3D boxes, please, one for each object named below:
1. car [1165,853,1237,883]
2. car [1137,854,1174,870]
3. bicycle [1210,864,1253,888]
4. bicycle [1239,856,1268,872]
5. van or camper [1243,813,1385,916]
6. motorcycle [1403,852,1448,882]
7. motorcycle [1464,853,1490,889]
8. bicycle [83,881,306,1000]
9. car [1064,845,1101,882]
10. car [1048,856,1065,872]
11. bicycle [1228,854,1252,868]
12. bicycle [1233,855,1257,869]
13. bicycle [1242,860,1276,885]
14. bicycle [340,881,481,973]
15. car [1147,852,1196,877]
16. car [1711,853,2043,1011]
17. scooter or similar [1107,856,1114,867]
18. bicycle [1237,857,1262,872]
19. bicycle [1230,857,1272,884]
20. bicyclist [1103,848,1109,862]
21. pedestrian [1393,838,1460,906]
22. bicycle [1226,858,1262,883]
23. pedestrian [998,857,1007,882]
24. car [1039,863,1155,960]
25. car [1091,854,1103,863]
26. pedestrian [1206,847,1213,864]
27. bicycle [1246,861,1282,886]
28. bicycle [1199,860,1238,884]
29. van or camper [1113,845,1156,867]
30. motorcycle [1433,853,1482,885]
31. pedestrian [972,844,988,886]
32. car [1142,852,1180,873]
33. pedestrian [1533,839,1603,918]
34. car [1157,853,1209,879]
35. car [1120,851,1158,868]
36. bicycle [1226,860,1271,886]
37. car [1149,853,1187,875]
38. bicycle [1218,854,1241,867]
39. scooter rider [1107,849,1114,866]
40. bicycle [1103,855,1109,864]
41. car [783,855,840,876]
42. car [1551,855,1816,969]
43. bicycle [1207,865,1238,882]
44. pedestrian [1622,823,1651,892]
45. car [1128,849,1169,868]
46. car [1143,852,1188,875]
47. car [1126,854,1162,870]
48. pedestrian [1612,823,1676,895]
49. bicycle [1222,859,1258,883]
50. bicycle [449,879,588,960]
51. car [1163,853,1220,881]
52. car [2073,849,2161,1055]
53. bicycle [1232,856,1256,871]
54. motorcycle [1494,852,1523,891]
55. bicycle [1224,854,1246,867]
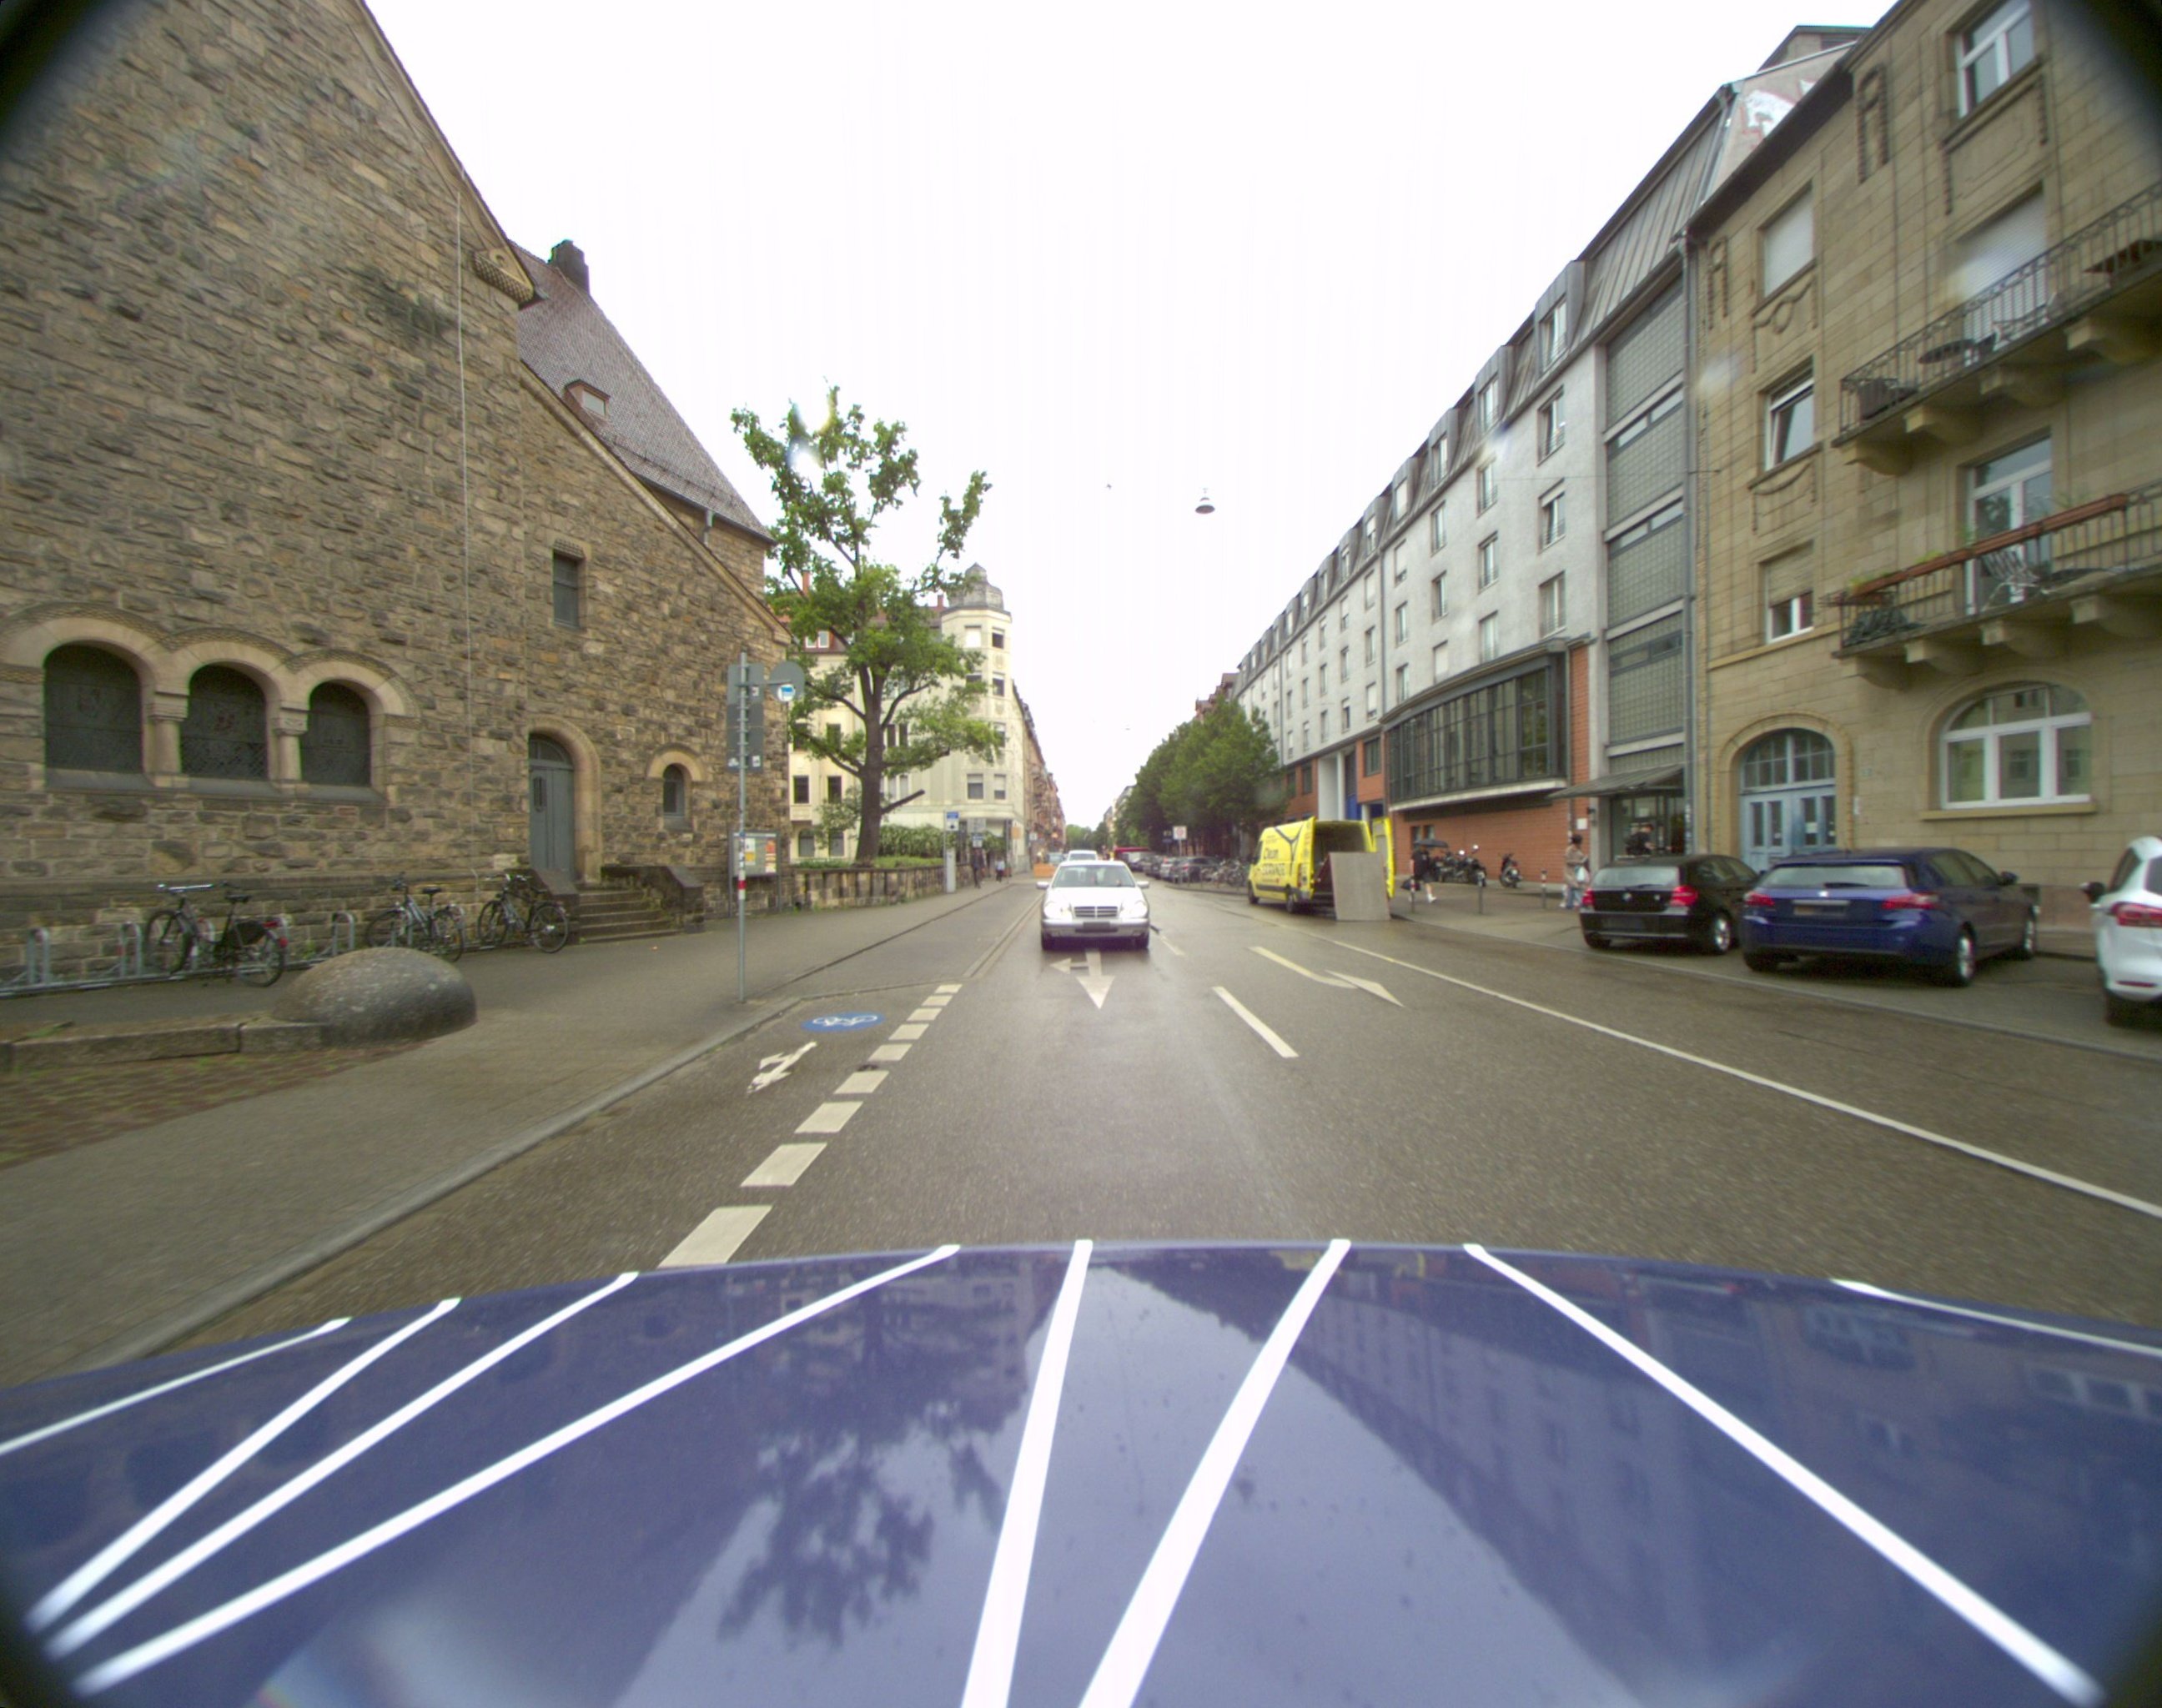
[{"bbox_3d":[6.582,0.731,41.669,3.629,1.494,1.736,-2,1,-31],"label":"car"},{"bbox_3d":[7.176,0.745,73.021,1.685,1.481,3.799,1,0,41],"label":"car"},{"bbox_3d":[6.699,0.964,33.858,1.800,0.987,0.520,-2,1,-2],"label":"bicycle"},{"bbox_3d":[11.374,0.651,50.190,1.851,0.978,0.445,0,1,-7],"label":"bicycle"},{"bbox_3d":[6.546,0.259,22.232,2.202,2.596,5.941,0,0,-1],"label":"van or camper"},{"bbox_3d":[13.808,0.514,30.524,0.838,1.150,2.273,-2,0,2],"label":"motorcycle"},{"bbox_3d":[13.548,0.553,26.041,0.524,1.174,2.007,-1,0,20],"label":"motorcycle"},{"bbox_3d":[-9.507,0.888,8.168,1.987,1.099,0.692,1,1,12],"label":"bicycle"},{"bbox_3d":[0.142,0.516,42.834,1.998,2.002,4.000,0,0,1],"label":"car"},{"bbox_3d":[-2.218,0.906,69.314,1.447,1.348,3.204,0,0,0],"label":"car"},{"bbox_3d":[11.385,0.530,54.364,1.590,0.978,0.465,-1,1,-7],"label":"bicycle"},{"bbox_3d":[11.488,0.545,53.198,1.590,0.978,0.445,-1,1,-7],"label":"bicycle"},{"bbox_3d":[8.048,0.834,34.286,1.461,1.096,0.462,-2,1,15],"label":"bicycle"},{"bbox_3d":[-8.981,0.950,10.184,1.711,1.105,0.562,1,1,15],"label":"bicycle"},{"bbox_3d":[6.009,0.702,50.097,3.084,1.543,1.448,-2,0,-40],"label":"car"},{"bbox_3d":[9.868,0.784,9.387,4.050,1.564,1.794,0,0,-28],"label":"car"},{"bbox_3d":[3.255,0.822,83.184,0.702,1.158,1.385,0,0,-1],"label":"scooter or similar"},{"bbox_3d":[11.252,0.695,50.665,1.590,0.978,0.445,-1,1,-7],"label":"bicycle"},{"bbox_3d":[7.841,0.750,35.144,1.815,1.187,0.519,-2,1,-12],"label":"bicycle"},{"bbox_3d":[2.560,0.112,79.081,0.536,1.521,1.134,0,1,-1],"label":"bicyclist"},{"bbox_3d":[9.677,0.488,21.338,1.353,1.835,1.061,-2,1,1],"label":"pedestrian"},{"bbox_3d":[7.813,0.785,36.422,1.611,1.099,0.519,-2,1,-12],"label":"bicycle"},{"bbox_3d":[-4.553,0.897,43.989,0.482,1.452,0.392,0,1,0],"label":"pedestrian"},{"bbox_3d":[0.270,0.900,13.629,1.764,1.420,4.000,-1,0,1],"label":"car"},{"bbox_3d":[2.366,0.671,111.751,1.651,1.301,3.311,0,0,-2],"label":"car"},{"bbox_3d":[11.763,0.125,69.534,0.571,1.588,0.533,0,1,1],"label":"pedestrian"},{"bbox_3d":[8.050,0.850,33.510,1.462,1.058,0.418,-2,1,4],"label":"bicycle"},{"bbox_3d":[6.793,0.876,37.579,1.812,1.099,0.472,-2,1,-4],"label":"bicycle"},{"bbox_3d":[6.261,0.251,89.280,4.604,2.597,1.999,0,0,-26],"label":"van or camper"},{"bbox_3d":[13.941,0.539,28.212,0.651,1.150,2.205,-2,0,-1],"label":"motorcycle"},{"bbox_3d":[-4.581,0.501,34.405,0.646,1.862,0.693,0,1,0],"label":"pedestrian"},{"bbox_3d":[6.203,0.640,58.594,2.685,1.546,1.148,-2,0,-28],"label":"car"},{"bbox_3d":[11.023,0.538,17.230,0.787,1.718,1.172,-2,1,-1],"label":"pedestrian"},{"bbox_3d":[6.334,0.741,47.208,3.084,1.494,1.448,-2,0,-40],"label":"car"},{"bbox_3d":[6.363,0.577,83.292,4.338,1.822,1.571,0,0,-40],"label":"car"},{"bbox_3d":[7.265,0.838,33.012,1.857,1.067,0.609,-2,1,6],"label":"bicycle"},{"bbox_3d":[6.120,0.710,53.329,2.507,1.442,1.191,-2,0,-40],"label":"car"},{"bbox_3d":[11.060,0.501,56.643,1.590,0.978,0.465,-1,1,-7],"label":"bicycle"},{"bbox_3d":[3.255,0.370,83.196,0.712,1.924,0.503,0,1,-1],"label":"scooter rider"},{"bbox_3d":[2.569,0.587,79.162,0.536,0.879,1.780,0,0,-1],"label":"bicycle"},{"bbox_3d":[-18.006,0.756,50.798,3.270,1.401,1.448,0,0,3],"label":"car"},{"bbox_3d":[9.502,0.784,11.953,4.050,1.503,1.794,0,0,-28],"label":"car"},{"bbox_3d":[7.179,0.984,38.616,1.473,0.800,0.497,-2,1,3],"label":"bicycle"},{"bbox_3d":[14.285,0.080,19.546,0.474,1.738,0.607,1,1,27],"label":"pedestrian"},{"bbox_3d":[7.112,0.477,79.771,4.338,1.884,1.685,0,0,-40],"label":"car"},{"bbox_3d":[6.199,0.699,55.836,2.985,1.546,1.369,-2,0,-28],"label":"car"},{"bbox_3d":[6.267,0.767,75.548,1.685,1.481,3.799,1,0,41],"label":"car"},{"bbox_3d":[13.954,0.120,18.843,1.008,1.718,0.787,-1,1,-8],"label":"pedestrian"},{"bbox_3d":[7.766,0.822,37.034,1.610,1.099,0.520,-2,1,-4],"label":"bicycle"},{"bbox_3d":[-8.263,0.938,11.164,1.987,1.048,0.513,1,1,15],"label":"bicycle"},{"bbox_3d":[6.493,0.741,44.597,3.083,1.494,1.449,-2,0,-31],"label":"car"},{"bbox_3d":[10.073,0.727,6.498,4.052,1.546,1.793,0,0,-39],"label":"car"},{"bbox_3d":[11.268,0.666,52.580,1.590,0.978,0.445,-1,1,-7],"label":"bicycle"},{"bbox_3d":[13.677,0.548,24.346,0.524,1.174,1.760,-1,0,20],"label":"motorcycle"},{"bbox_3d":[11.656,0.488,57.532,1.590,0.978,0.465,-1,1,-7],"label":"bicycle"}]
